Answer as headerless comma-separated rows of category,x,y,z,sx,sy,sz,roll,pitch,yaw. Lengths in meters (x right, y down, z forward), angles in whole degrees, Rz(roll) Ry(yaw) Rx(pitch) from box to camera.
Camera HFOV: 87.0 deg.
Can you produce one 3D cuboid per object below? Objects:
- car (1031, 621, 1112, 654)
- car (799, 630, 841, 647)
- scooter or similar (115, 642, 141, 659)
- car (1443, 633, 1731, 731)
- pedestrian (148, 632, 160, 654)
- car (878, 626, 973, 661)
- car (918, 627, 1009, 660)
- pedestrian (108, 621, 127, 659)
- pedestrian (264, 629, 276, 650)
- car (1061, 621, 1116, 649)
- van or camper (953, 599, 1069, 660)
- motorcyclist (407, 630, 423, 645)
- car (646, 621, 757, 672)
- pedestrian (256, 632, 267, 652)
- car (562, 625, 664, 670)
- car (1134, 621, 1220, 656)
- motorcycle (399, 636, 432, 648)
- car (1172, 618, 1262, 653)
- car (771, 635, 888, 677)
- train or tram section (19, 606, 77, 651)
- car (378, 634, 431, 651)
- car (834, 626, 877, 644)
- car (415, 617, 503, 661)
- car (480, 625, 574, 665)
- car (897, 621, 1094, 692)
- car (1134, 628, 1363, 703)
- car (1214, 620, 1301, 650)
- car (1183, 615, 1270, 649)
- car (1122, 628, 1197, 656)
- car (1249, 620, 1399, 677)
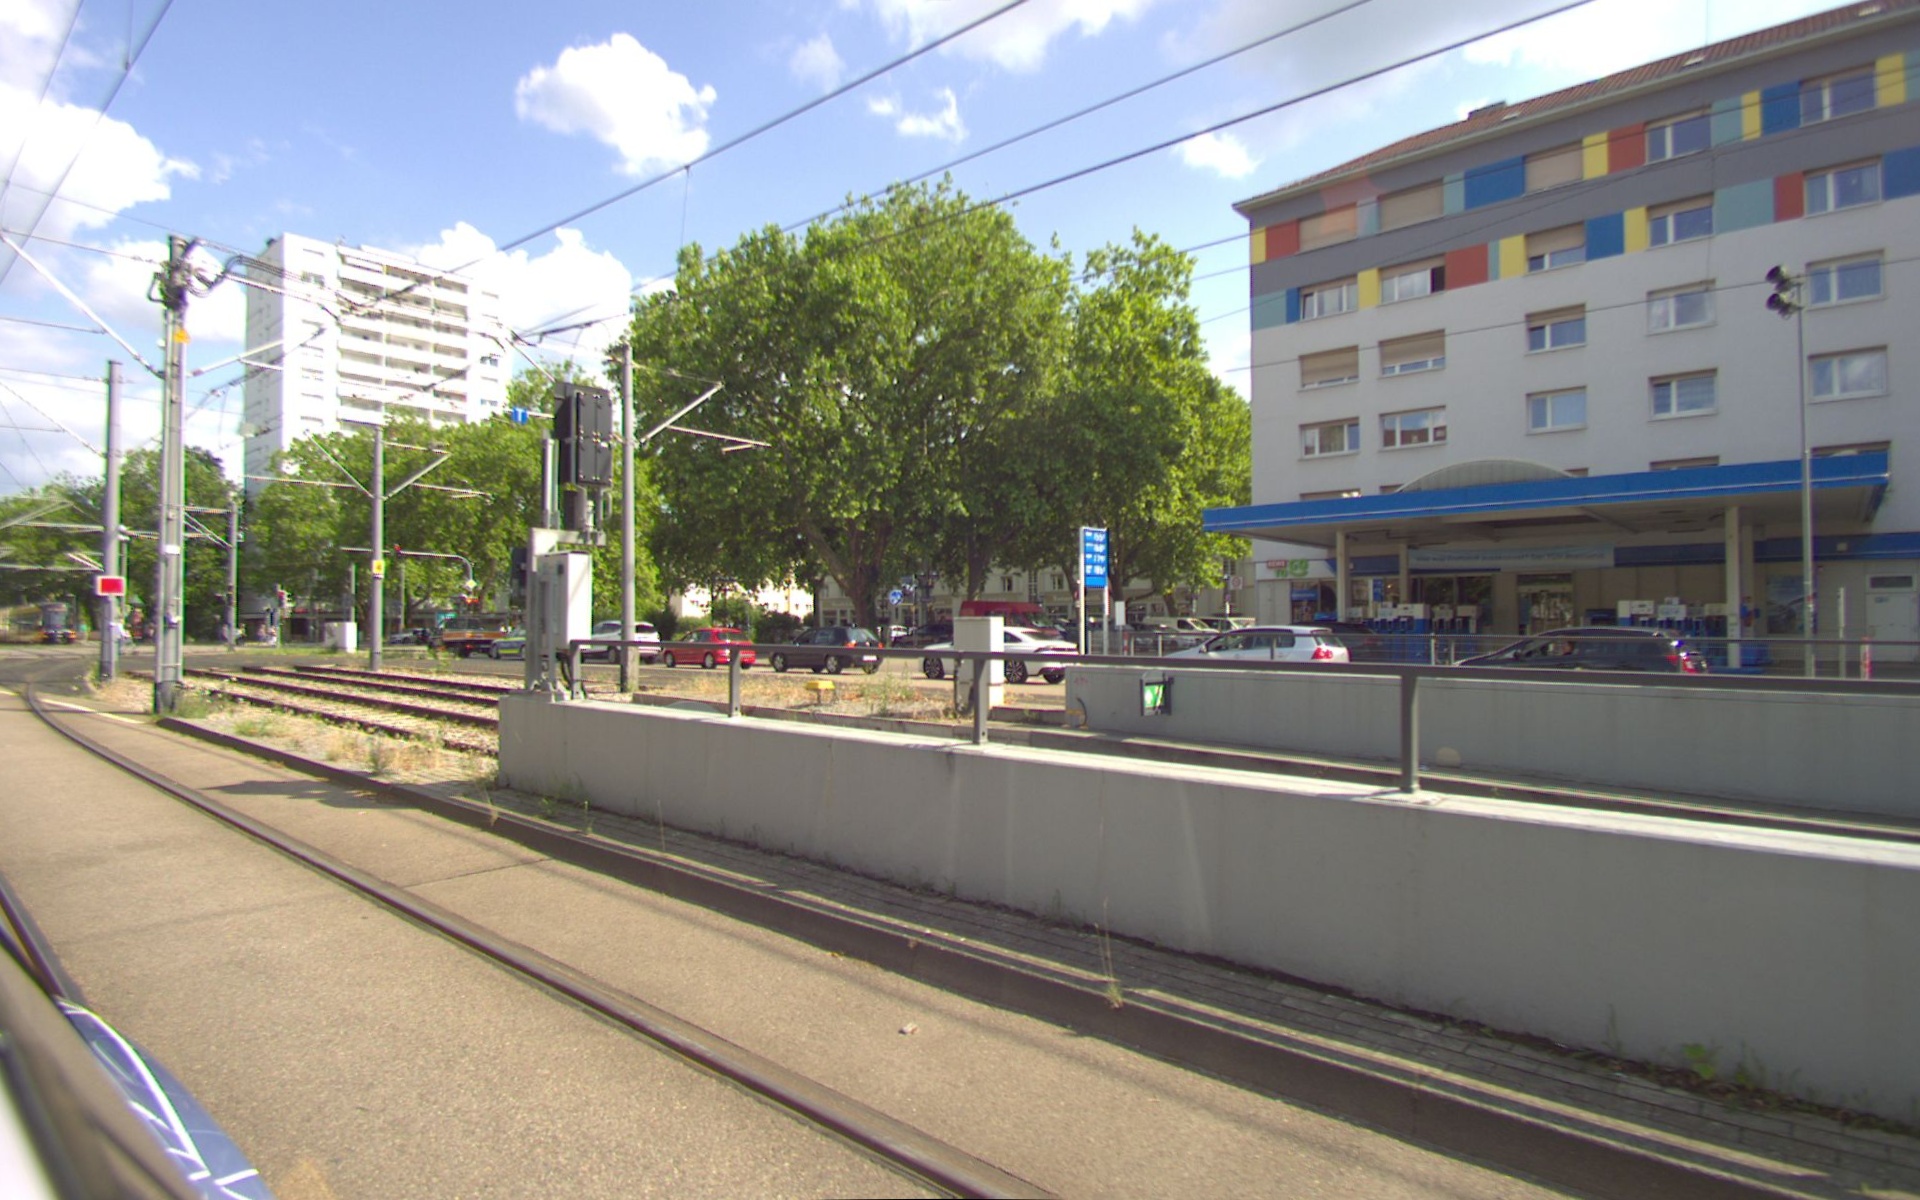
car,5.681,1.952,51.868,3.997,1.616,1.510,-2,-4,41
car,-13.976,3.867,101.230,1.849,1.672,4.031,-2,-2,38
scooter or similar,-39.500,2.395,48.044,0.553,0.810,0.830,-2,-2,37
car,10.373,1.287,16.934,1.648,1.427,3.786,1,-3,-43
pedestrian,-63.877,3.382,80.209,0.648,1.716,0.662,-2,-3,44
car,-1.534,1.857,43.623,3.997,1.421,1.734,-2,-3,41
car,0.130,1.959,45.747,3.997,1.421,1.734,-2,-3,41
pedestrian,-39.749,1.886,47.729,0.556,1.746,0.521,-2,-3,37
pedestrian,-58.434,3.336,85.713,0.648,1.716,0.662,-2,-3,44
car,10.046,2.797,79.100,3.872,2.029,2.258,4,-5,-41
van or camper,2.352,1.425,47.553,5.349,2.662,2.079,-2,-5,43
motorcyclist,-45.659,3.142,84.788,0.695,1.227,0.968,-1,-2,27
car,-8.967,1.635,34.988,4.142,1.619,1.694,-4,-4,41
pedestrian,-60.043,3.577,86.958,0.648,1.716,0.662,-2,-3,44
car,-13.776,1.903,40.057,4.677,1.619,1.741,-4,-4,41
car,12.907,2.328,60.299,4.679,1.949,1.973,-2,-5,41
motorcycle,-45.637,3.541,84.827,0.695,0.984,2.482,-1,-2,27
car,16.274,2.248,64.251,5.244,2.102,1.975,-2,-5,37
car,-4.024,1.684,30.802,3.633,1.198,1.598,-2,-3,43
train or tram section,-76.654,2.422,84.927,11.379,3.588,2.765,-2,-2,44
car,-50.309,3.877,91.721,1.850,1.501,3.967,-1,-2,24
car,-10.120,3.387,98.096,1.996,1.697,3.951,-2,-2,36
car,-24.671,1.958,49.746,5.333,2.002,2.053,-4,-4,41
car,-19.335,2.012,45.075,5.152,1.665,1.847,-2,-4,42
car,0.830,1.389,26.303,5.074,1.619,1.926,0,-1,42
car,6.024,1.349,21.485,4.405,1.427,1.703,-2,-4,43
car,19.894,2.353,67.784,5.247,1.886,1.974,-2,-5,39
car,17.554,2.141,66.722,5.248,2.102,1.974,-2,-5,39
car,11.465,2.408,58.275,3.997,1.532,1.641,-2,-5,41
car,11.156,1.513,31.125,3.873,1.619,1.882,-4,-4,41
